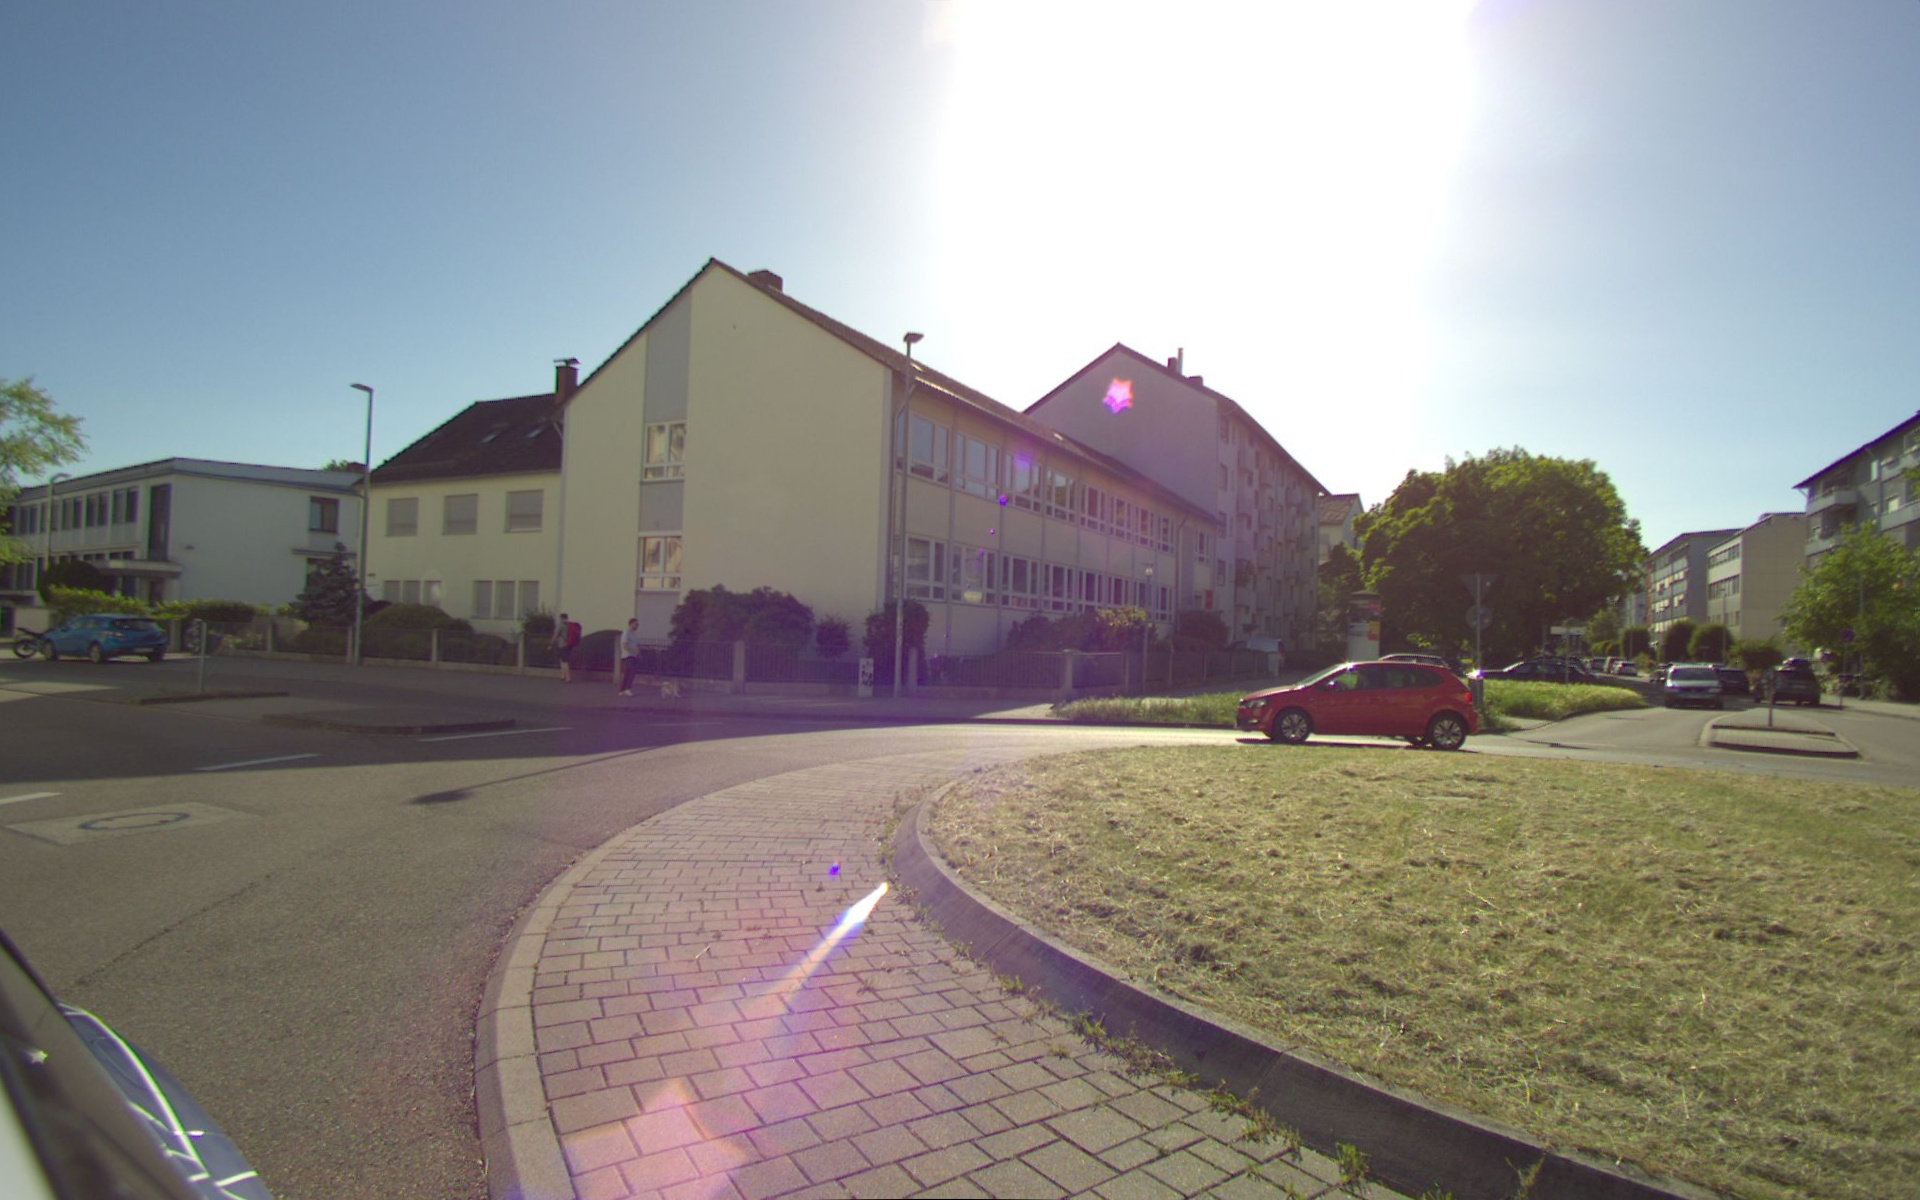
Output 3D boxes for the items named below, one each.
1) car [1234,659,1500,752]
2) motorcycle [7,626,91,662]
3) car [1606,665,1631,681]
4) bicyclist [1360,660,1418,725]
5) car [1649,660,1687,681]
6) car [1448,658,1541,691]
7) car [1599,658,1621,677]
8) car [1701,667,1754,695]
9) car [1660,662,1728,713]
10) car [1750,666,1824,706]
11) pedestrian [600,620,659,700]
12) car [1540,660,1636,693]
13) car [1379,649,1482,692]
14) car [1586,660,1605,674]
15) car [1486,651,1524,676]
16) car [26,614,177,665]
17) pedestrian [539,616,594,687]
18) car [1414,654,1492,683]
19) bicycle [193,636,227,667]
[{"bbox_3d":[6.863,1.773,17.453,3.957,1.393,1.711,1,-4,11],"label":"car"},{"bbox_3d":[-29.389,1.414,32.691,1.932,1.103,0.592,2,-2,-38],"label":"motorcycle"},{"bbox_3d":[66.226,7.328,101.799,1.844,1.390,3.959,0,-3,30],"label":"car"},{"bbox_3d":[9.224,1.979,21.753,0.811,1.322,0.814,2,-2,-28],"label":"bicyclist"},{"bbox_3d":[50.226,5.000,71.837,1.844,1.390,3.959,0,-3,30],"label":"car"},{"bbox_3d":[27.678,3.823,52.437,3.993,1.475,1.975,0,-3,37],"label":"car"},{"bbox_3d":[71.801,7.441,111.813,1.844,1.919,3.959,0,-3,30],"label":"car"},{"bbox_3d":[42.585,4.488,56.214,1.844,1.390,3.959,0,-3,30],"label":"car"},{"bbox_3d":[27.589,3.238,38.168,1.876,1.709,4.224,-1,-3,34],"label":"car"},{"bbox_3d":[36.475,3.758,44.729,1.844,1.551,3.959,0,-3,30],"label":"car"},{"bbox_3d":[-7.309,1.311,22.390,0.991,1.718,0.687,1,-1,23],"label":"pedestrian"},{"bbox_3d":[32.398,3.933,52.327,3.976,1.497,1.836,1,-3,25],"label":"car"},{"bbox_3d":[21.607,3.210,46.513,3.993,1.785,1.975,0,-3,37],"label":"car"},{"bbox_3d":[81.714,8.591,130.113,1.844,1.685,3.959,0,-3,30],"label":"car"},{"bbox_3d":[35.184,4.086,65.399,1.840,1.534,3.968,1,-3,23],"label":"car"},{"bbox_3d":[-26.686,1.206,31.456,4.388,1.445,1.870,0,-1,24],"label":"car"},{"bbox_3d":[-9.849,1.278,25.327,0.993,1.718,0.811,0,-2,29],"label":"pedestrian"},{"bbox_3d":[29.007,4.012,59.556,3.986,1.475,1.807,0,-3,32],"label":"car"},{"bbox_3d":[-25.711,1.750,34.693,1.256,1.023,0.343,1,-3,25],"label":"bicycle"}]
